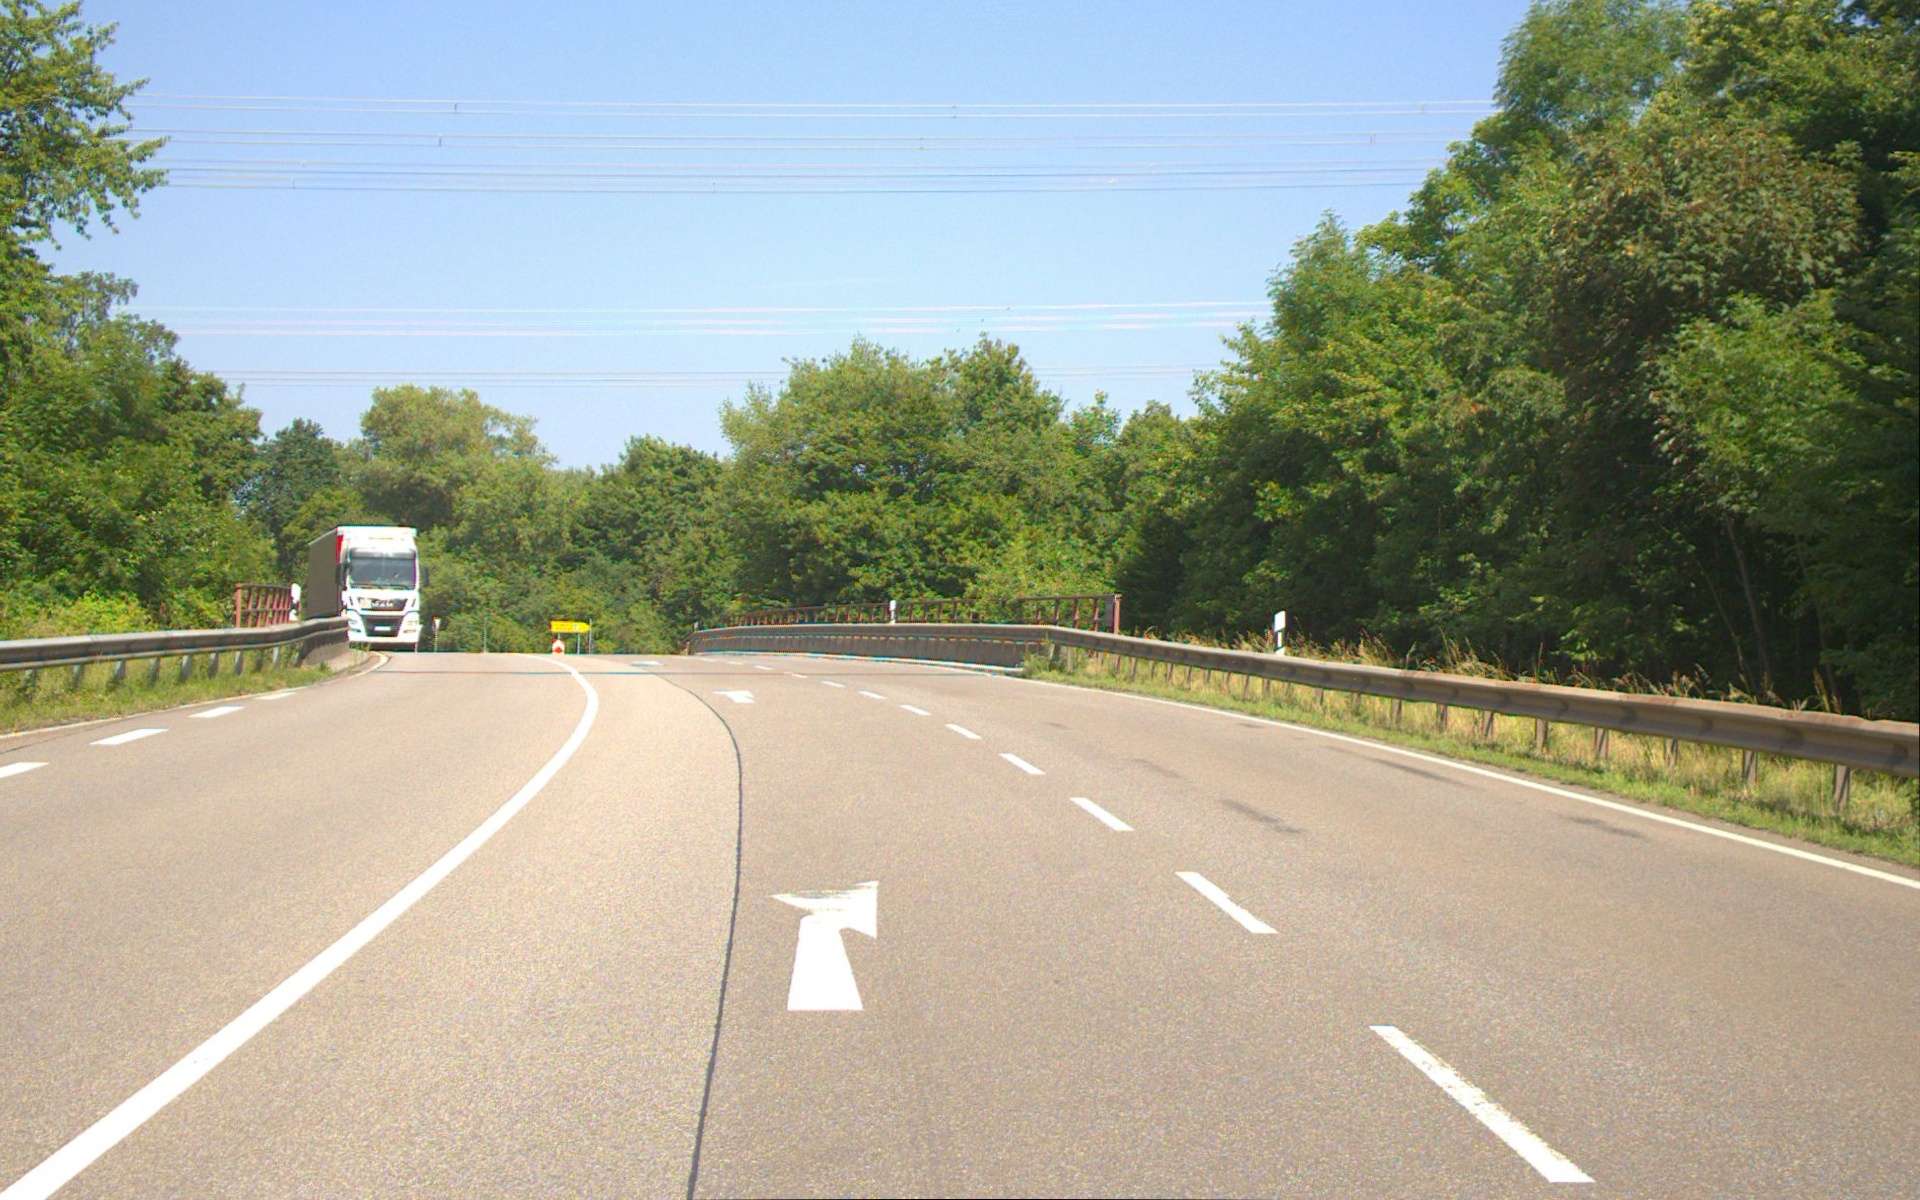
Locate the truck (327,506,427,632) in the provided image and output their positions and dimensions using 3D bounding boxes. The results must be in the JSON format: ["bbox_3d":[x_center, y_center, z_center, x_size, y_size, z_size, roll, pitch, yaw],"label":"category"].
[{"bbox_3d":[-19.476,-0.980,114.559,2.768,4.020,5.856,1,-1,-14],"label":"truck"}]

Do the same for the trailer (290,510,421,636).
[{"bbox_3d":[-21.425,-0.821,121.089,2.767,4.048,14.203,0,-1,-17],"label":"trailer"}]
